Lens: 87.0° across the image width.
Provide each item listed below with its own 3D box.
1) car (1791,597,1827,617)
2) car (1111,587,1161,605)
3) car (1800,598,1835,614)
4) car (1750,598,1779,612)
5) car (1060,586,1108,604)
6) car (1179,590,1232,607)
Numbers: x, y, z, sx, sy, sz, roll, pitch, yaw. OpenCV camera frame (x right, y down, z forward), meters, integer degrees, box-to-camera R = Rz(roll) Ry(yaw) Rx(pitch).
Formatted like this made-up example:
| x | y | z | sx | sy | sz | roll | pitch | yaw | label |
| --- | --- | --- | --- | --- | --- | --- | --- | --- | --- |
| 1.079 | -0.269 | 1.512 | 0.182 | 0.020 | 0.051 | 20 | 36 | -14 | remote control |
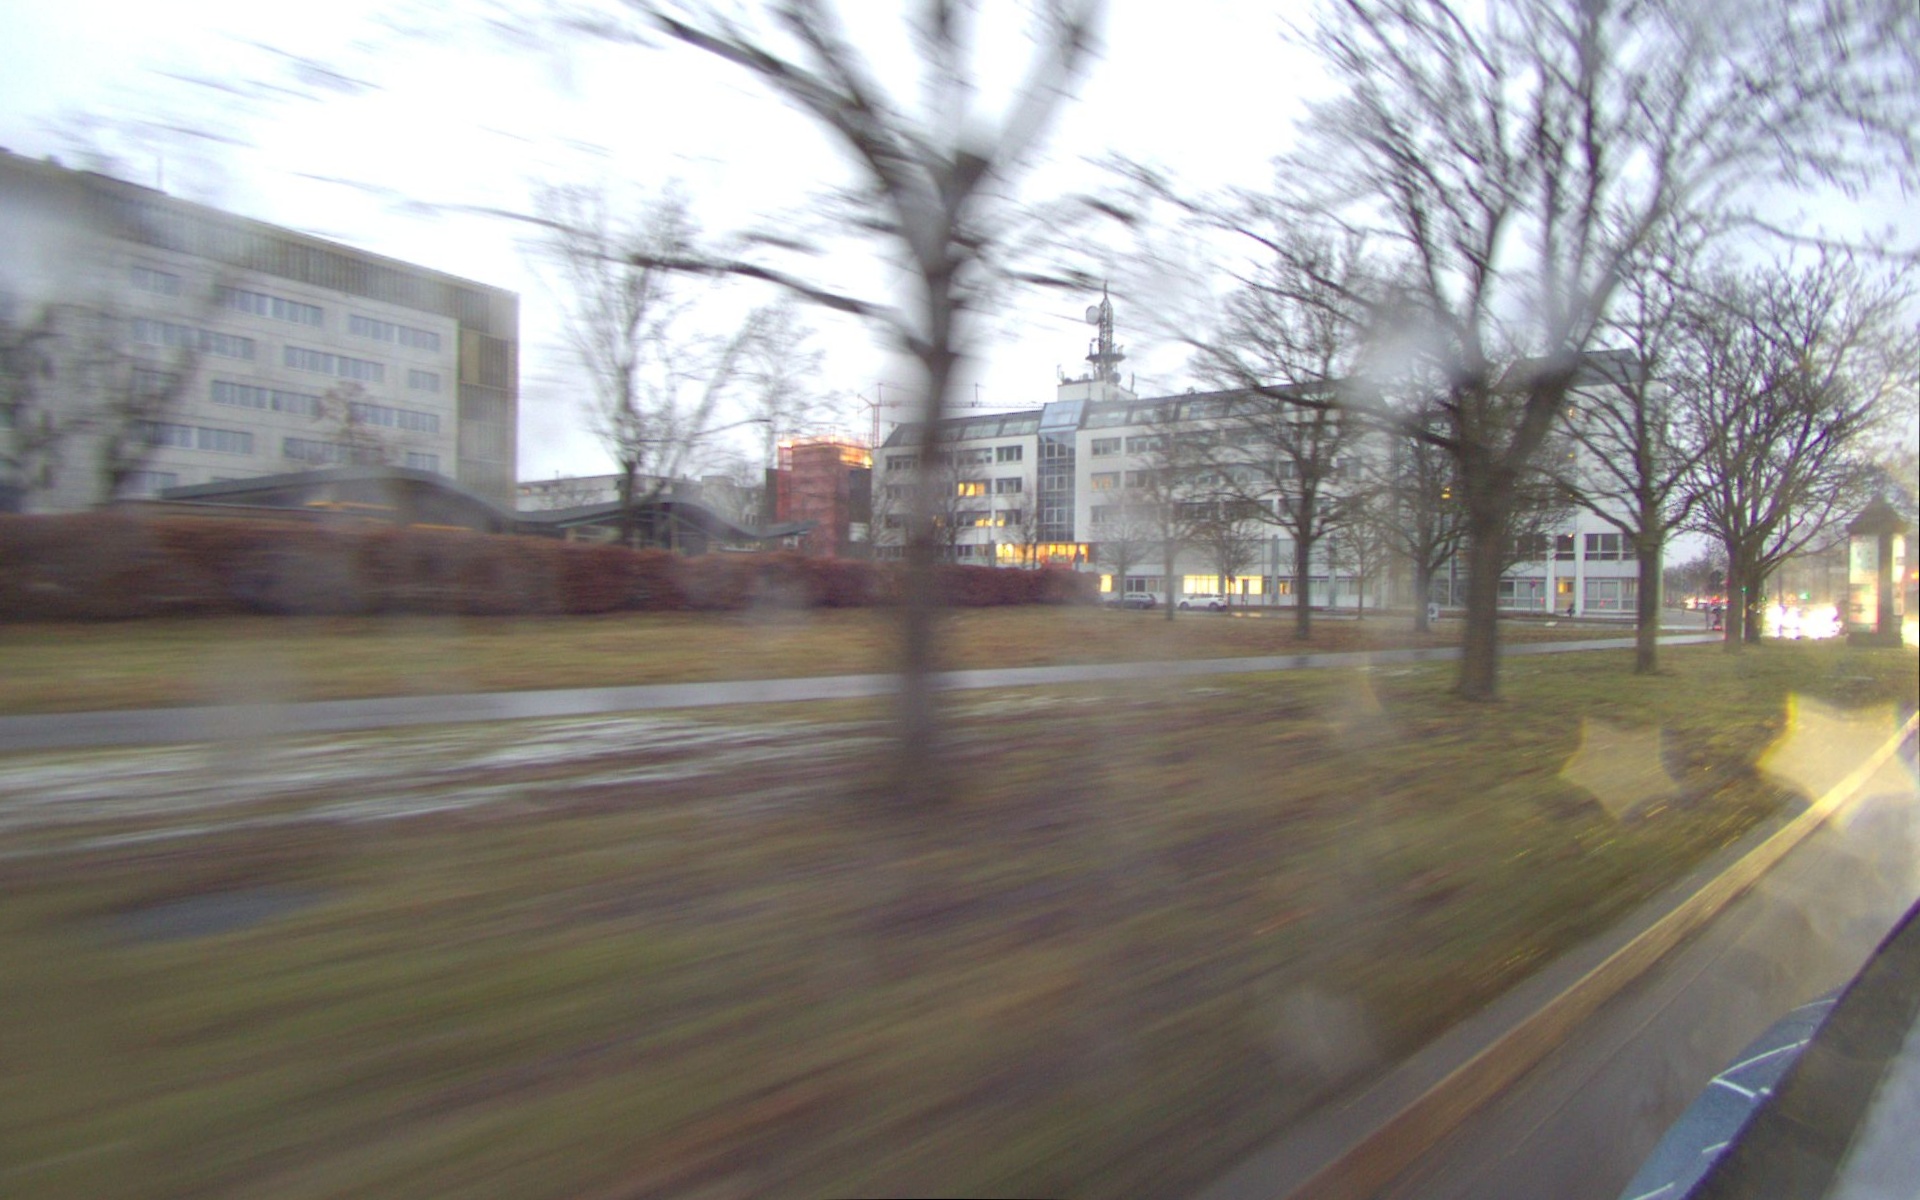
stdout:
| x | y | z | sx | sy | sz | roll | pitch | yaw | label |
| --- | --- | --- | --- | --- | --- | --- | --- | --- | --- |
| 68.416 | 0.560 | 81.593 | 1.939 | 1.575 | 4.162 | -1 | -1 | 36 | car |
| 16.409 | -0.373 | 94.475 | 4.116 | 1.652 | 1.977 | 1 | 1 | 32 | car |
| 78.241 | 0.551 | 92.362 | 1.987 | 1.340 | 3.950 | 1 | 1 | 34 | car |
| 81.161 | 0.446 | 102.085 | 1.987 | 1.340 | 3.950 | 1 | 1 | 34 | car |
| 11.931 | -0.522 | 97.549 | 4.133 | 1.652 | 1.977 | 1 | 1 | 32 | car |
| 21.639 | -0.162 | 89.210 | 4.133 | 1.456 | 1.882 | 1 | 1 | 32 | car |
